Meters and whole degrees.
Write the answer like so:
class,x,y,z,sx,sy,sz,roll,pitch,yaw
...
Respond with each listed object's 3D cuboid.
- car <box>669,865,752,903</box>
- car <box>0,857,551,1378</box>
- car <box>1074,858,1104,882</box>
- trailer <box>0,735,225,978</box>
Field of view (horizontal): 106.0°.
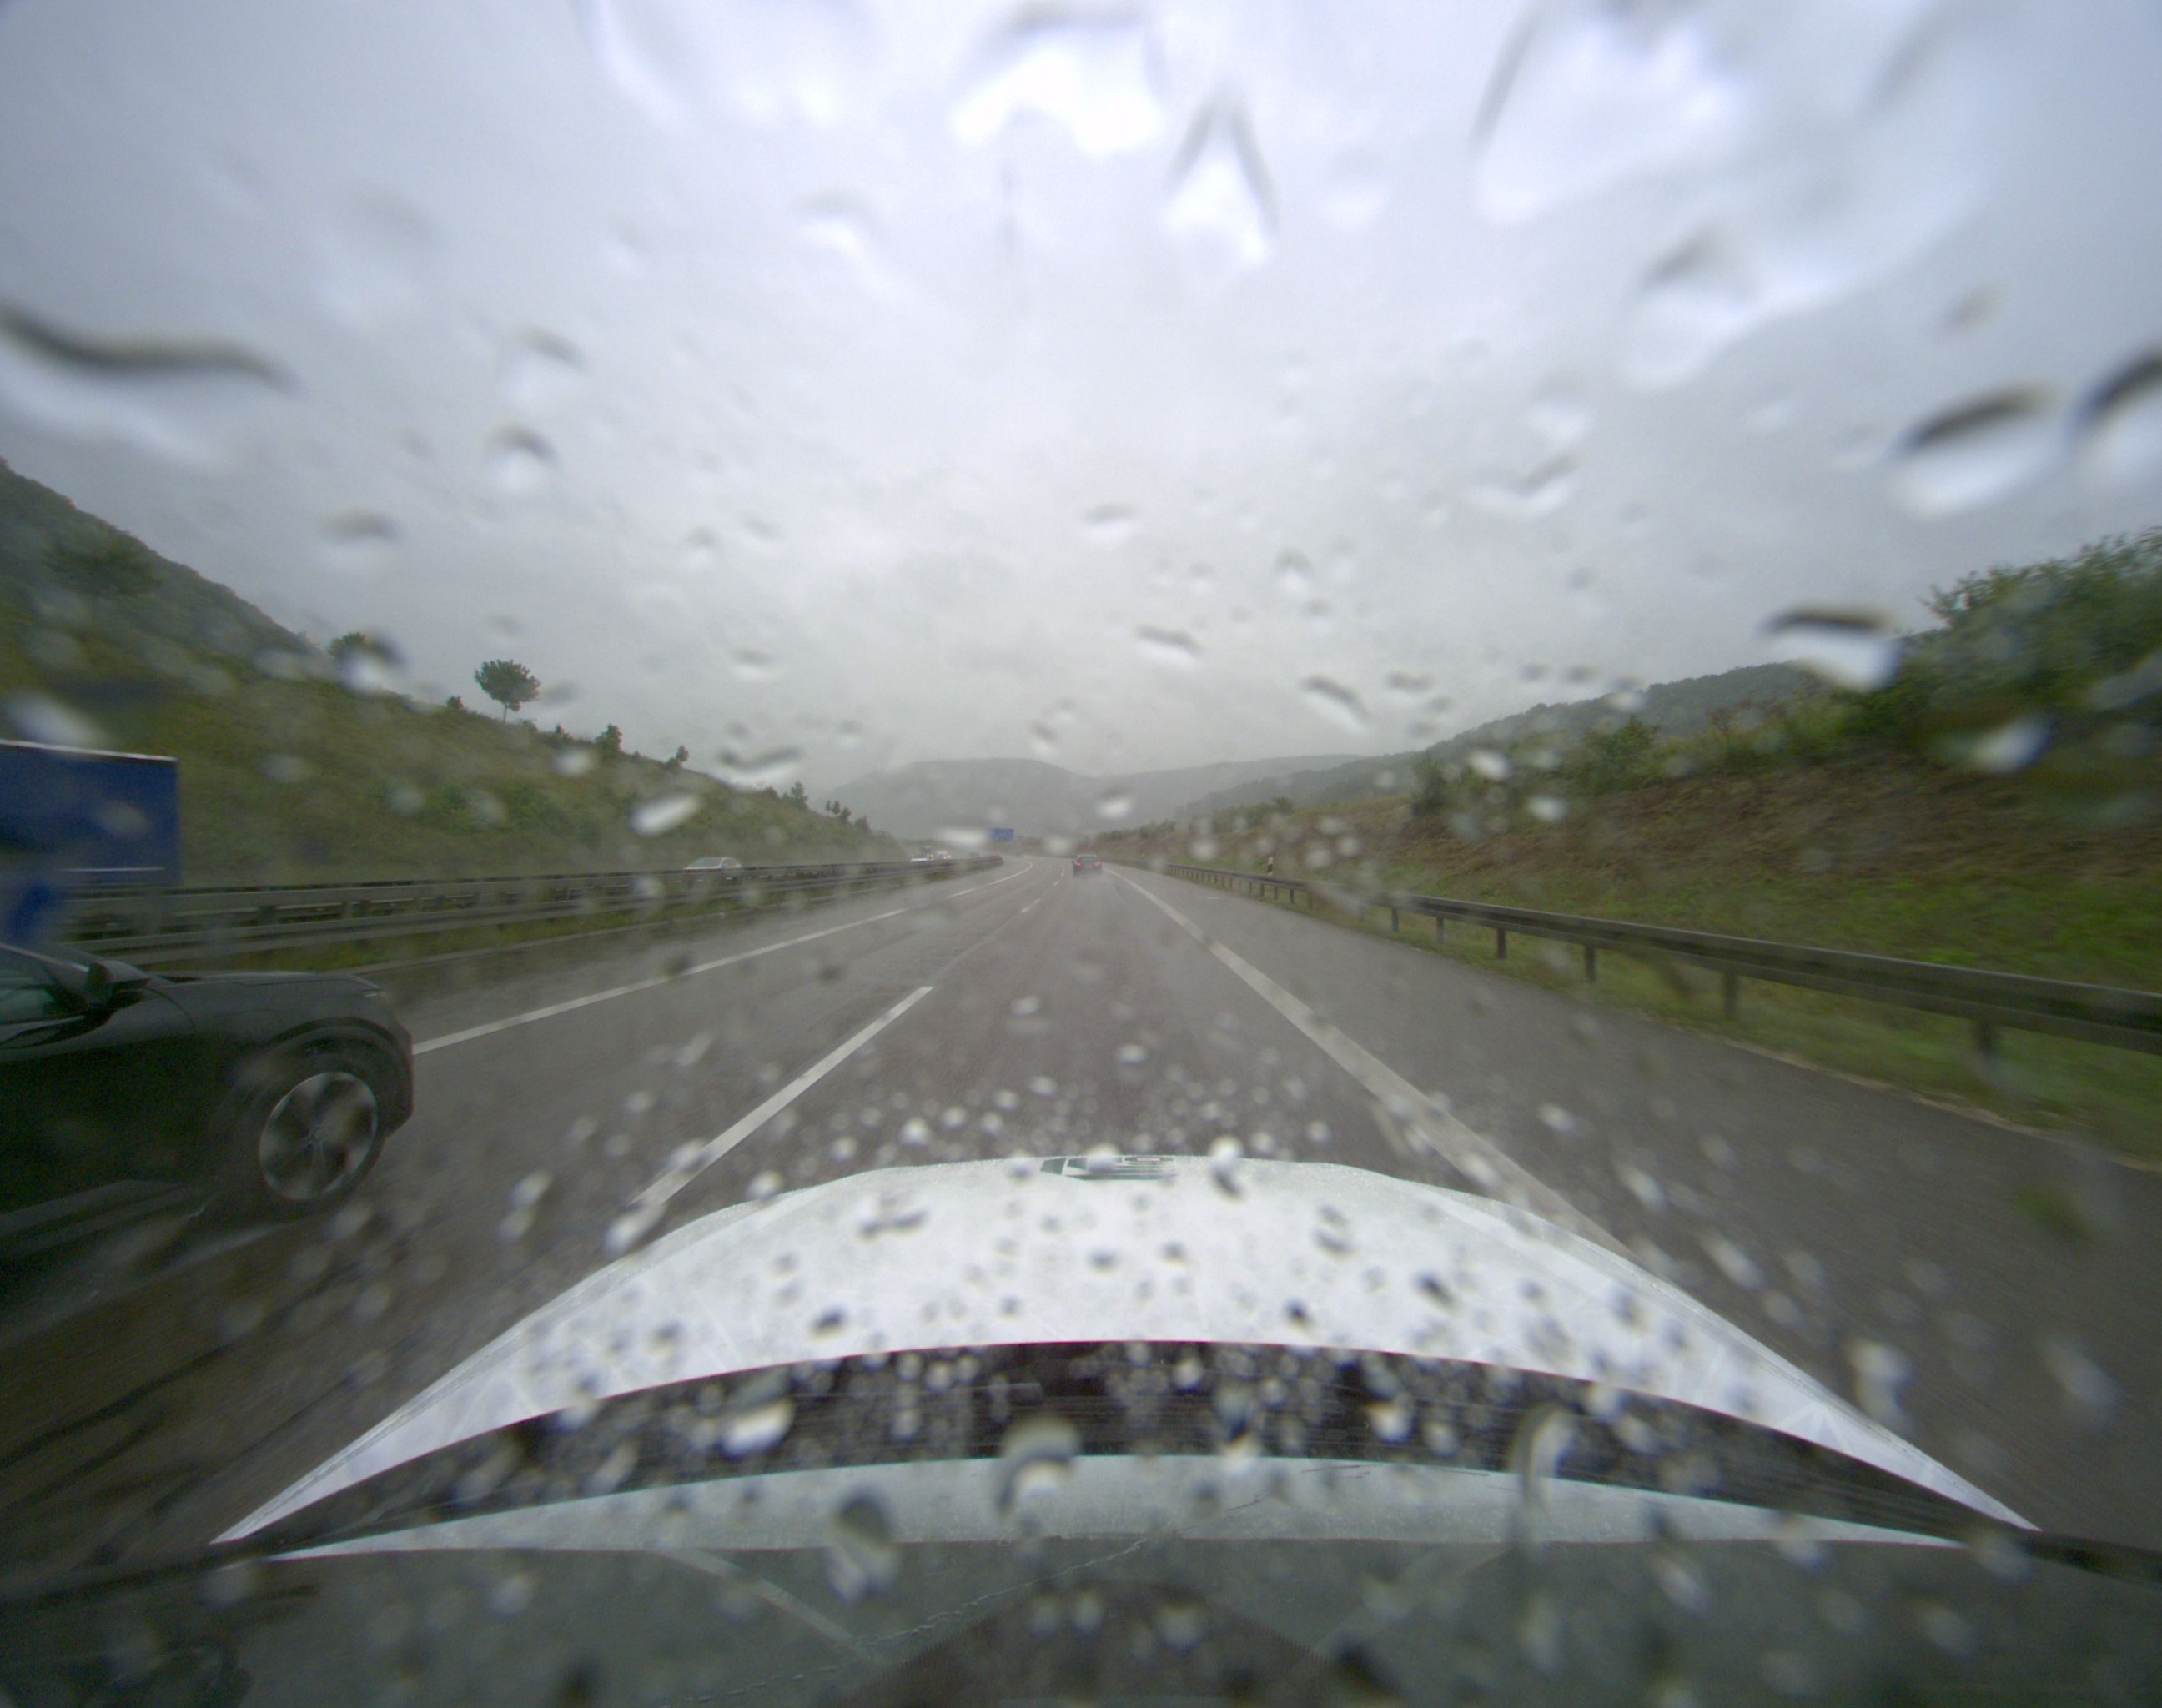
class,x,y,z,sx,sy,sz,roll,pitch,yaw
car,-18.628,1.457,41.171,1.987,1.745,4.659,-1,0,1
car,-4.384,0.798,2.340,2.396,1.515,4.788,-1,0,3
car,0.468,0.987,51.954,1.675,1.472,3.811,-1,0,-2
trailer,-22.751,0.074,13.151,2.726,4.785,14.047,-1,0,1
